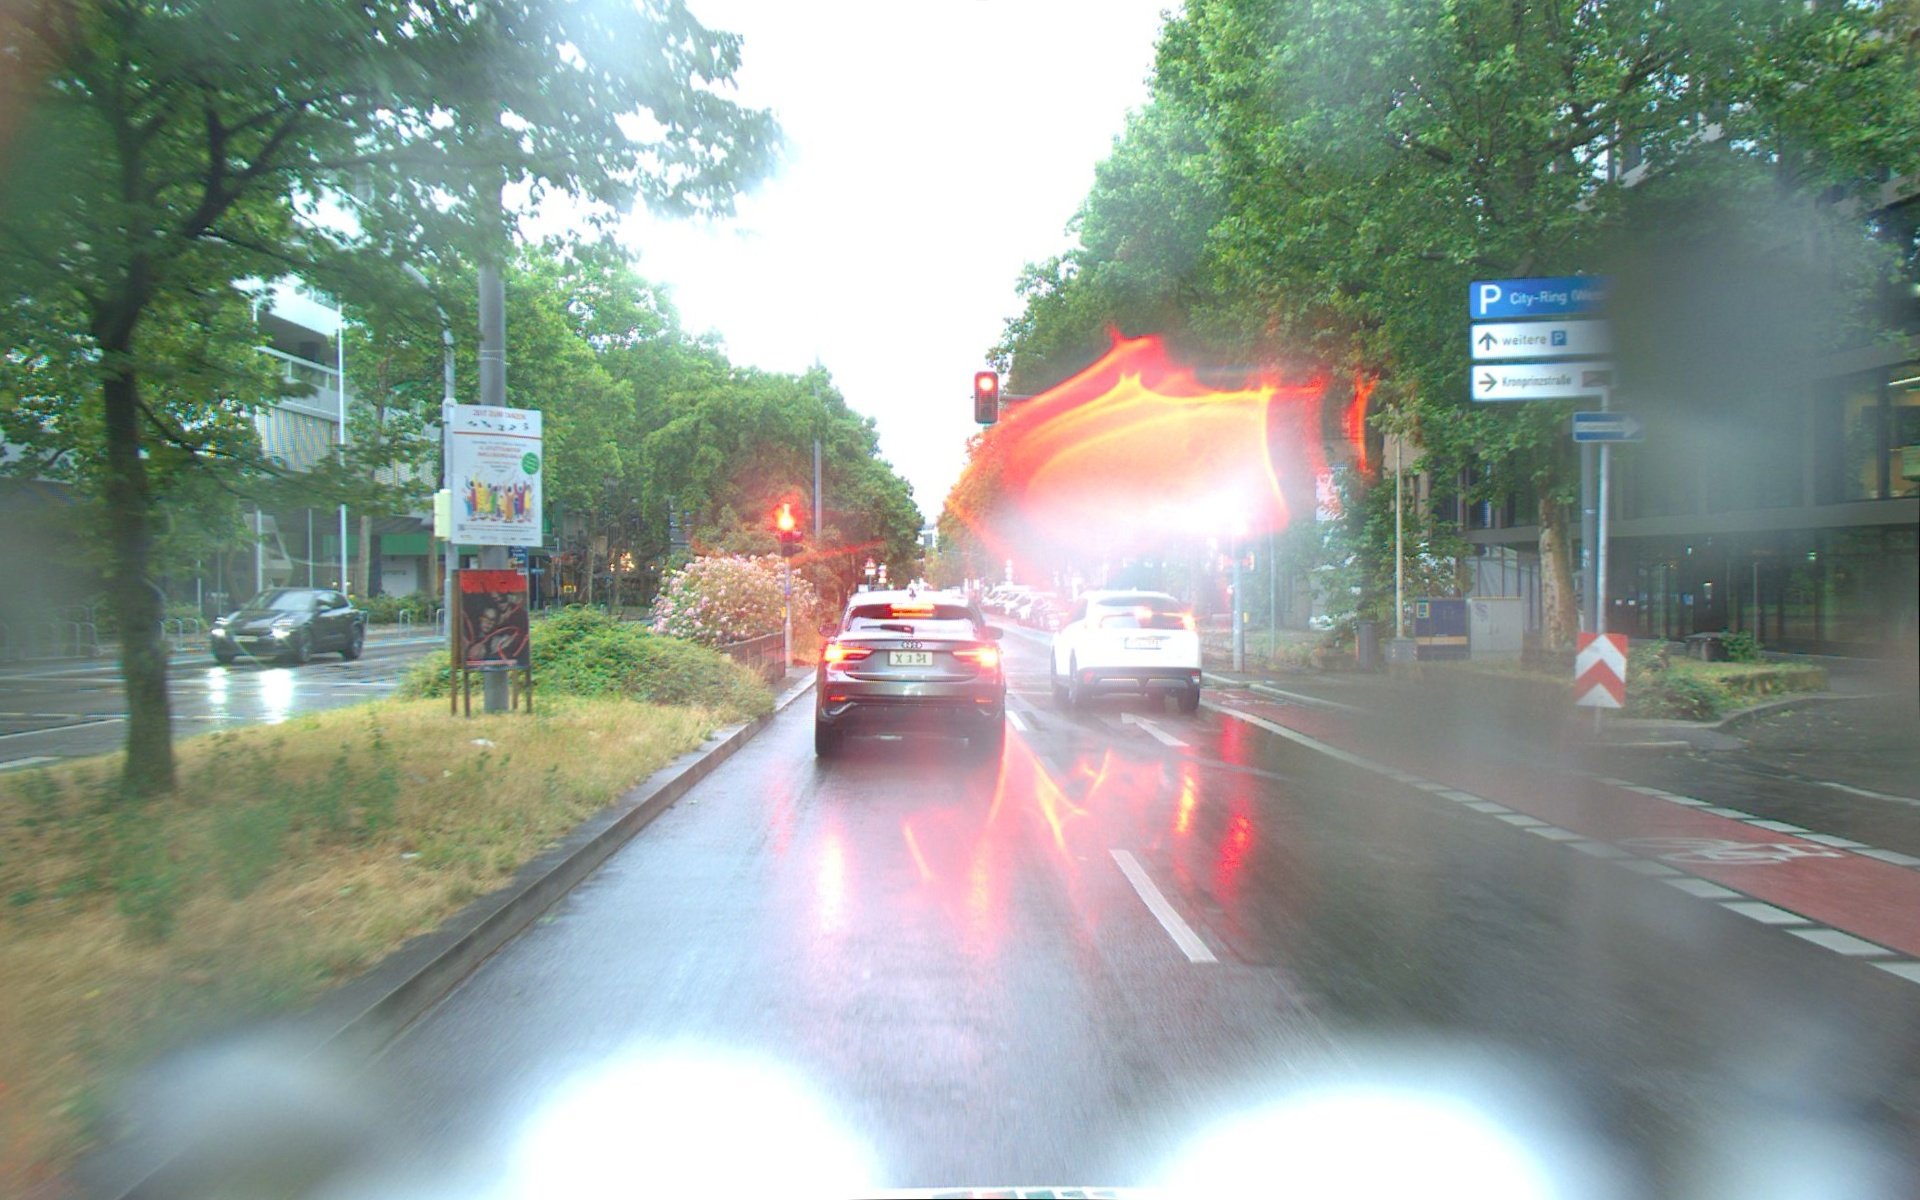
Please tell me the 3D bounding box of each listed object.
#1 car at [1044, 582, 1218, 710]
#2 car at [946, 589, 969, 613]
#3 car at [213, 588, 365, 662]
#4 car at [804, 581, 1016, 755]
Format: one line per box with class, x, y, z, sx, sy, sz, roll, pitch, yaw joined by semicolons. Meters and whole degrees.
car;2.428;0.598;24.684;1.953;1.684;4.887;0;1;-2
car;-0.177;0.076;121.806;1.588;1.695;3.999;-1;1;-2
car;-14.981;0.517;37.177;1.793;1.579;4.188;0;0;-2
car;-0.505;0.580;16.705;1.880;1.517;3.999;0;1;-2
